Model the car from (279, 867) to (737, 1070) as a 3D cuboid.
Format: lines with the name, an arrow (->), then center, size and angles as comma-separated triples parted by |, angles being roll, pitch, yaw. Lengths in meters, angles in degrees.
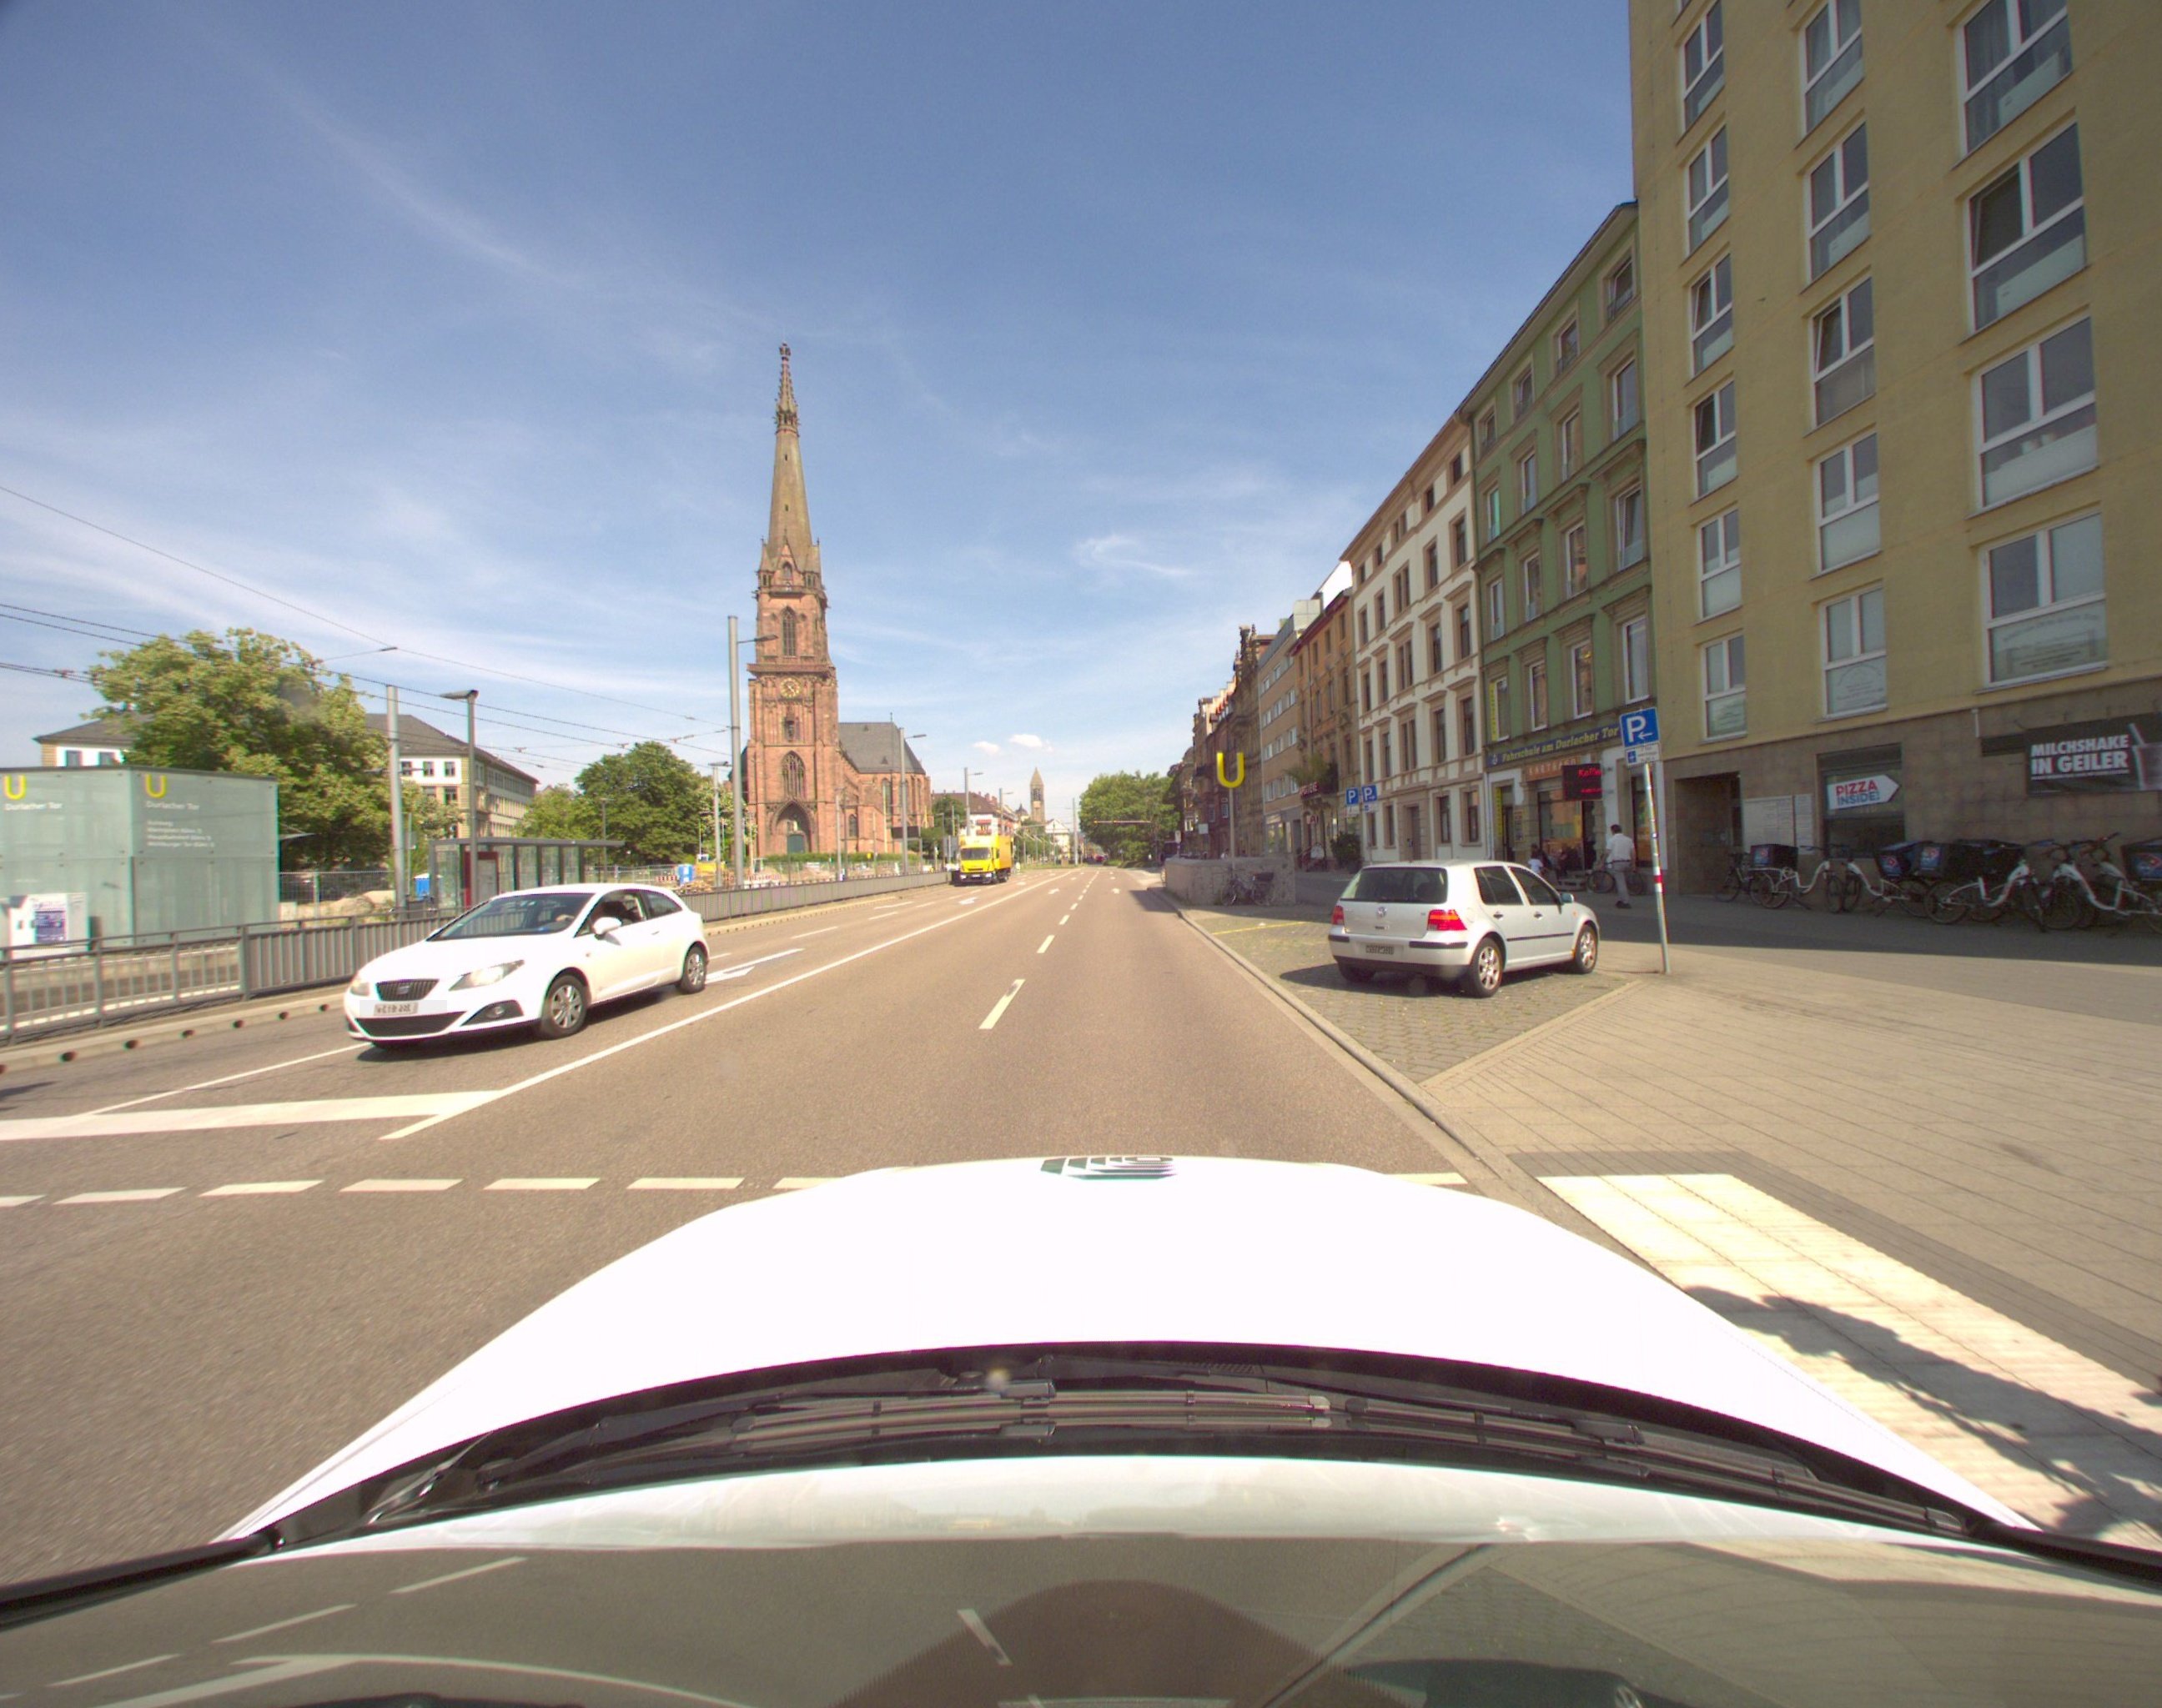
car -> -5.541, 0.970, 8.695 | 1.748, 1.398, 4.126 | -6, 0, 2

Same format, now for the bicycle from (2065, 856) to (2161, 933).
bicycle -> 13.570, 0.500, 10.178 | 0.578, 0.916, 1.761 | -3, 0, 10

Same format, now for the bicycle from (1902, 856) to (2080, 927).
bicycle -> 13.068, 0.509, 11.776 | 0.580, 0.916, 1.757 | -3, 0, 1

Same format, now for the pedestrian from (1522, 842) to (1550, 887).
pedestrian -> 14.049, 0.315, 25.162 | 0.523, 1.354, 0.530 | -2, 0, 1

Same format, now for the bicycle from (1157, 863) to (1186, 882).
bicycle -> 4.853, 0.988, 43.793 | 1.455, 0.947, 0.415 | -2, -2, 1

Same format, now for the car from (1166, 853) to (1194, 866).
car -> 14.917, 0.778, 123.015 | 3.970, 1.749, 2.002 | -2, 2, 3

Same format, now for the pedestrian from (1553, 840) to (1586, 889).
pedestrian -> 14.212, 0.304, 23.714 | 0.523, 1.374, 0.647 | -2, 0, 1

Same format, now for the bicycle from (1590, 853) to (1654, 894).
bicycle -> 13.928, 0.490, 21.017 | 0.411, 0.964, 1.780 | -5, 0, 1

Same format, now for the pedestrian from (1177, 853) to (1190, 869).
pedestrian -> 8.949, 0.628, 70.955 | 0.944, 1.325, 0.822 | -2, 0, -1

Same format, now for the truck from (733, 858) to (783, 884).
truck -> -35.774, 1.910, 90.287 | 4.377, 2.678, 2.390 | -2, 0, 6

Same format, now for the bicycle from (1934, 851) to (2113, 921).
bicycle -> 13.589, 0.435, 11.828 | 0.580, 0.916, 1.758 | -3, 0, 2

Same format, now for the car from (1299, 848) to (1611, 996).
car -> 4.638, 0.678, 9.894 | 4.019, 1.440, 1.793 | 0, -1, -38

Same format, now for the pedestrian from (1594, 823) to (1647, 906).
pedestrian -> 11.664, 0.228, 17.622 | 0.607, 1.745, 0.704 | -2, -1, 2

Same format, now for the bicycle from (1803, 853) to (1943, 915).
bicycle -> 13.228, 0.481, 13.680 | 0.580, 0.927, 1.757 | -5, 0, 1

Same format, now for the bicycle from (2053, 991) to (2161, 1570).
bicycle -> 3.064, 0.852, 1.574 | 1.788, 1.130, 0.583 | -1, -1, -5

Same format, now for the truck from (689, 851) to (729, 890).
truck -> -36.095, 1.588, 79.186 | 3.030, 3.569, 6.000 | -2, 0, -21

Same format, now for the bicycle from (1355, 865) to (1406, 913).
bicycle -> 7.455, 0.856, 20.347 | 0.580, 1.094, 1.821 | -5, -1, 2

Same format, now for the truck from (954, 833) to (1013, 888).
truck -> -6.626, 0.439, 56.619 | 2.534, 3.298, 9.030 | -5, 0, 1

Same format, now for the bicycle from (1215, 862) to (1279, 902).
bicycle -> 4.820, 0.809, 23.695 | 1.736, 1.094, 0.597 | -2, 0, 1

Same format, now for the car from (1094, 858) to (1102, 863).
car -> 4.393, 1.762, 214.864 | 1.893, 1.376, 3.814 | -2, 0, -1

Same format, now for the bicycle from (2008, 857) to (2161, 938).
bicycle -> 13.059, 0.511, 10.407 | 0.578, 0.916, 1.761 | -3, 0, 10

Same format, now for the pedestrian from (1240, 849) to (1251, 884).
pedestrian -> 8.070, 0.609, 39.985 | 0.370, 1.665, 0.525 | -2, -1, 2

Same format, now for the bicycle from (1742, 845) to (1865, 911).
bicycle -> 13.209, 0.412, 14.965 | 0.580, 1.094, 1.820 | -5, -1, 1

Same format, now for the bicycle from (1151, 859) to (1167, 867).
bicycle -> 9.187, 1.107, 96.191 | 1.821, 0.863, 0.481 | -2, 2, -14

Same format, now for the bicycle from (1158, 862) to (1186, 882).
bicycle -> 4.832, 0.975, 43.346 | 1.455, 0.976, 0.416 | -2, 2, 1

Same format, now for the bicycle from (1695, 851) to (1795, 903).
bicycle -> 13.720, 0.456, 16.895 | 0.580, 0.964, 1.780 | -5, 0, 1

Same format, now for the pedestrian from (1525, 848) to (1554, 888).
pedestrian -> 13.589, 0.416, 24.147 | 0.523, 1.168, 0.530 | -2, 0, 1

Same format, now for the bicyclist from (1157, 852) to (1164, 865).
bicyclist -> 9.356, 0.521, 96.224 | 0.640, 1.591, 0.481 | -2, 2, -14

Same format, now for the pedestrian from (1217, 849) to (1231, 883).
pedestrian -> 7.051, 0.575, 40.170 | 0.550, 1.665, 0.525 | -2, -1, 2
